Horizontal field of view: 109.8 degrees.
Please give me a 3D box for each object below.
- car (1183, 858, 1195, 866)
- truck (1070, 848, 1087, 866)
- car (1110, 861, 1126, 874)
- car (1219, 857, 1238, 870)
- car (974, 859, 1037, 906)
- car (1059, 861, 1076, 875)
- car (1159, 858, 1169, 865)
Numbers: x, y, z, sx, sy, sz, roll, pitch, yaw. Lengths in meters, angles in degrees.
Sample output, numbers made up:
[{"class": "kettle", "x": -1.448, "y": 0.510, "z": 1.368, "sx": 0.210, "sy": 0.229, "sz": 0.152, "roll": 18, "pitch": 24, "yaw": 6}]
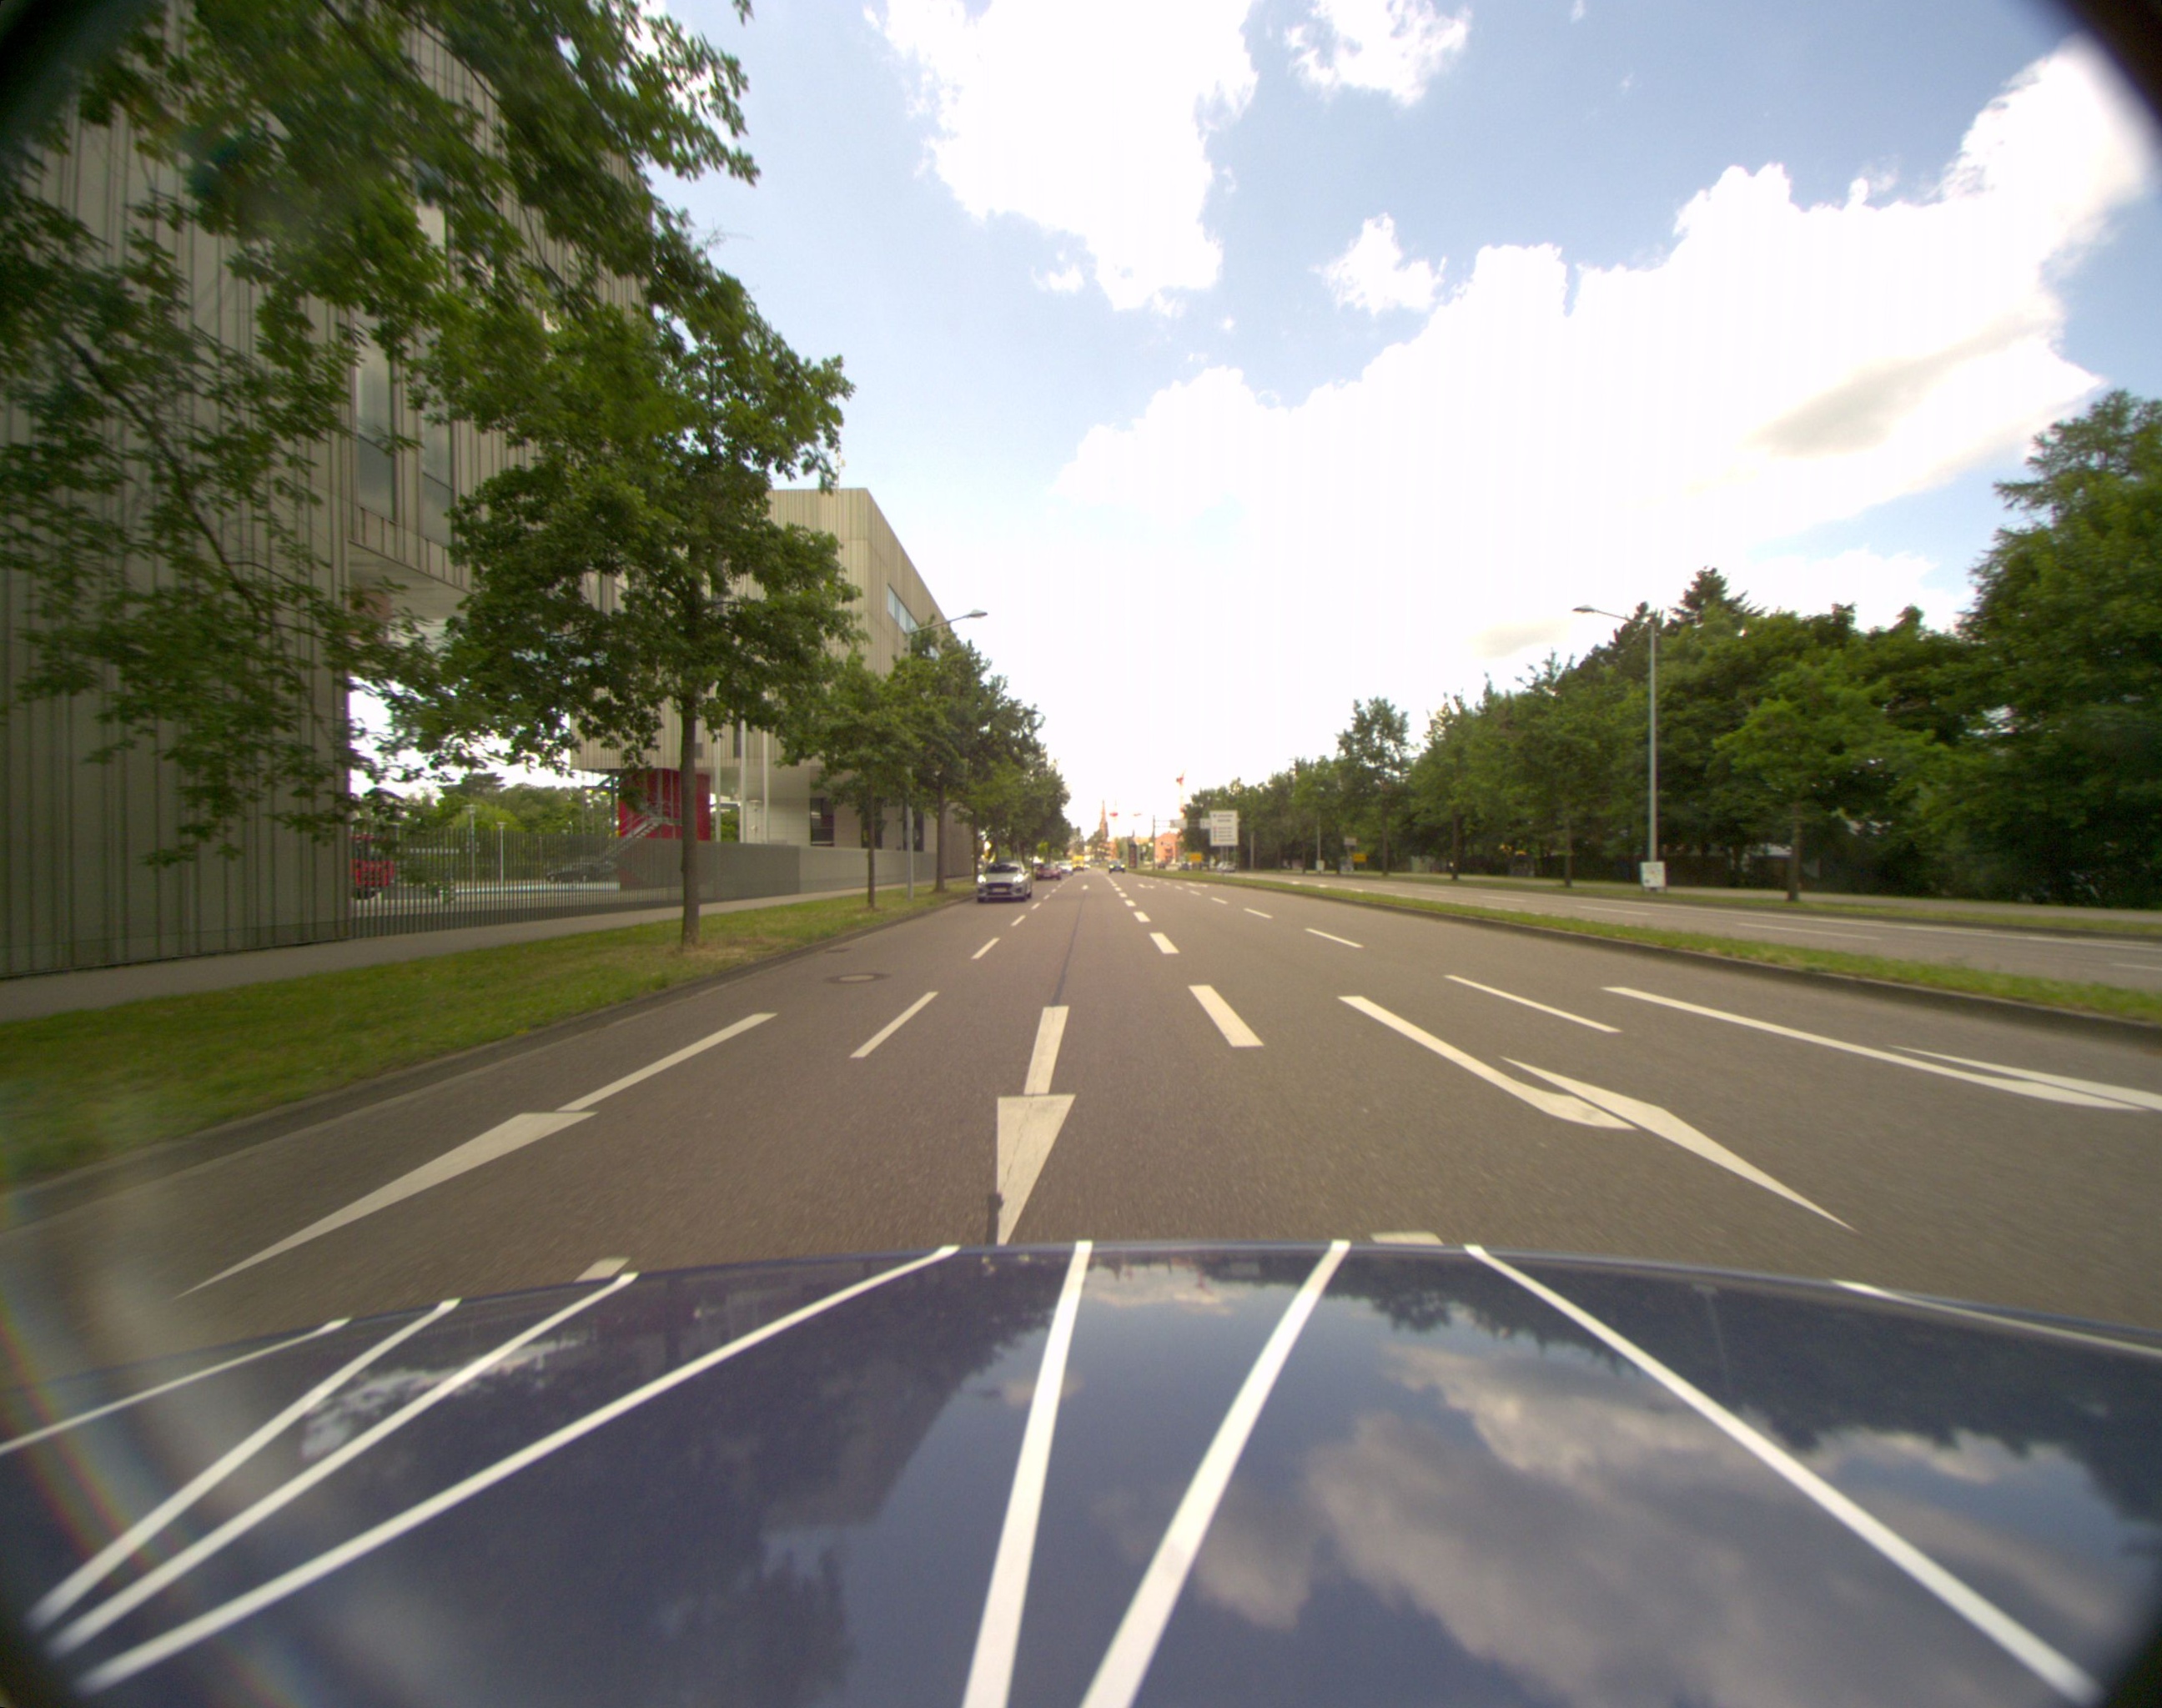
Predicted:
[{"class": "car", "x": 19.485, "y": 1.410, "z": 137.465, "sx": 1.713, "sy": 1.487, "sz": 4.072, "roll": 0, "pitch": 0, "yaw": 2}, {"class": "truck", "x": -0.428, "y": 0.548, "z": 140.025, "sx": 3.066, "sy": 3.095, "sz": 7.935, "roll": 0, "pitch": 0, "yaw": 1}, {"class": "car", "x": 4.210, "y": 1.556, "z": 87.557, "sx": 1.782, "sy": 1.487, "sz": 3.598, "roll": 0, "pitch": 0, "yaw": 1}, {"class": "car", "x": 18.320, "y": 1.168, "z": 94.297, "sx": 1.713, "sy": 1.487, "sz": 3.698, "roll": 0, "pitch": 0, "yaw": 2}, {"class": "car", "x": -2.764, "y": 1.018, "z": 28.638, "sx": 1.823, "sy": 1.565, "sz": 3.954, "roll": -2, "pitch": 0, "yaw": 1}, {"class": "car", "x": -1.477, "y": 1.526, "z": 82.359, "sx": 1.713, "sy": 1.487, "sz": 3.650, "roll": 0, "pitch": 0, "yaw": 1}, {"class": "car", "x": 17.636, "y": 1.556, "z": 161.263, "sx": 1.713, "sy": 1.487, "sz": 4.072, "roll": 0, "pitch": 0, "yaw": 2}]
